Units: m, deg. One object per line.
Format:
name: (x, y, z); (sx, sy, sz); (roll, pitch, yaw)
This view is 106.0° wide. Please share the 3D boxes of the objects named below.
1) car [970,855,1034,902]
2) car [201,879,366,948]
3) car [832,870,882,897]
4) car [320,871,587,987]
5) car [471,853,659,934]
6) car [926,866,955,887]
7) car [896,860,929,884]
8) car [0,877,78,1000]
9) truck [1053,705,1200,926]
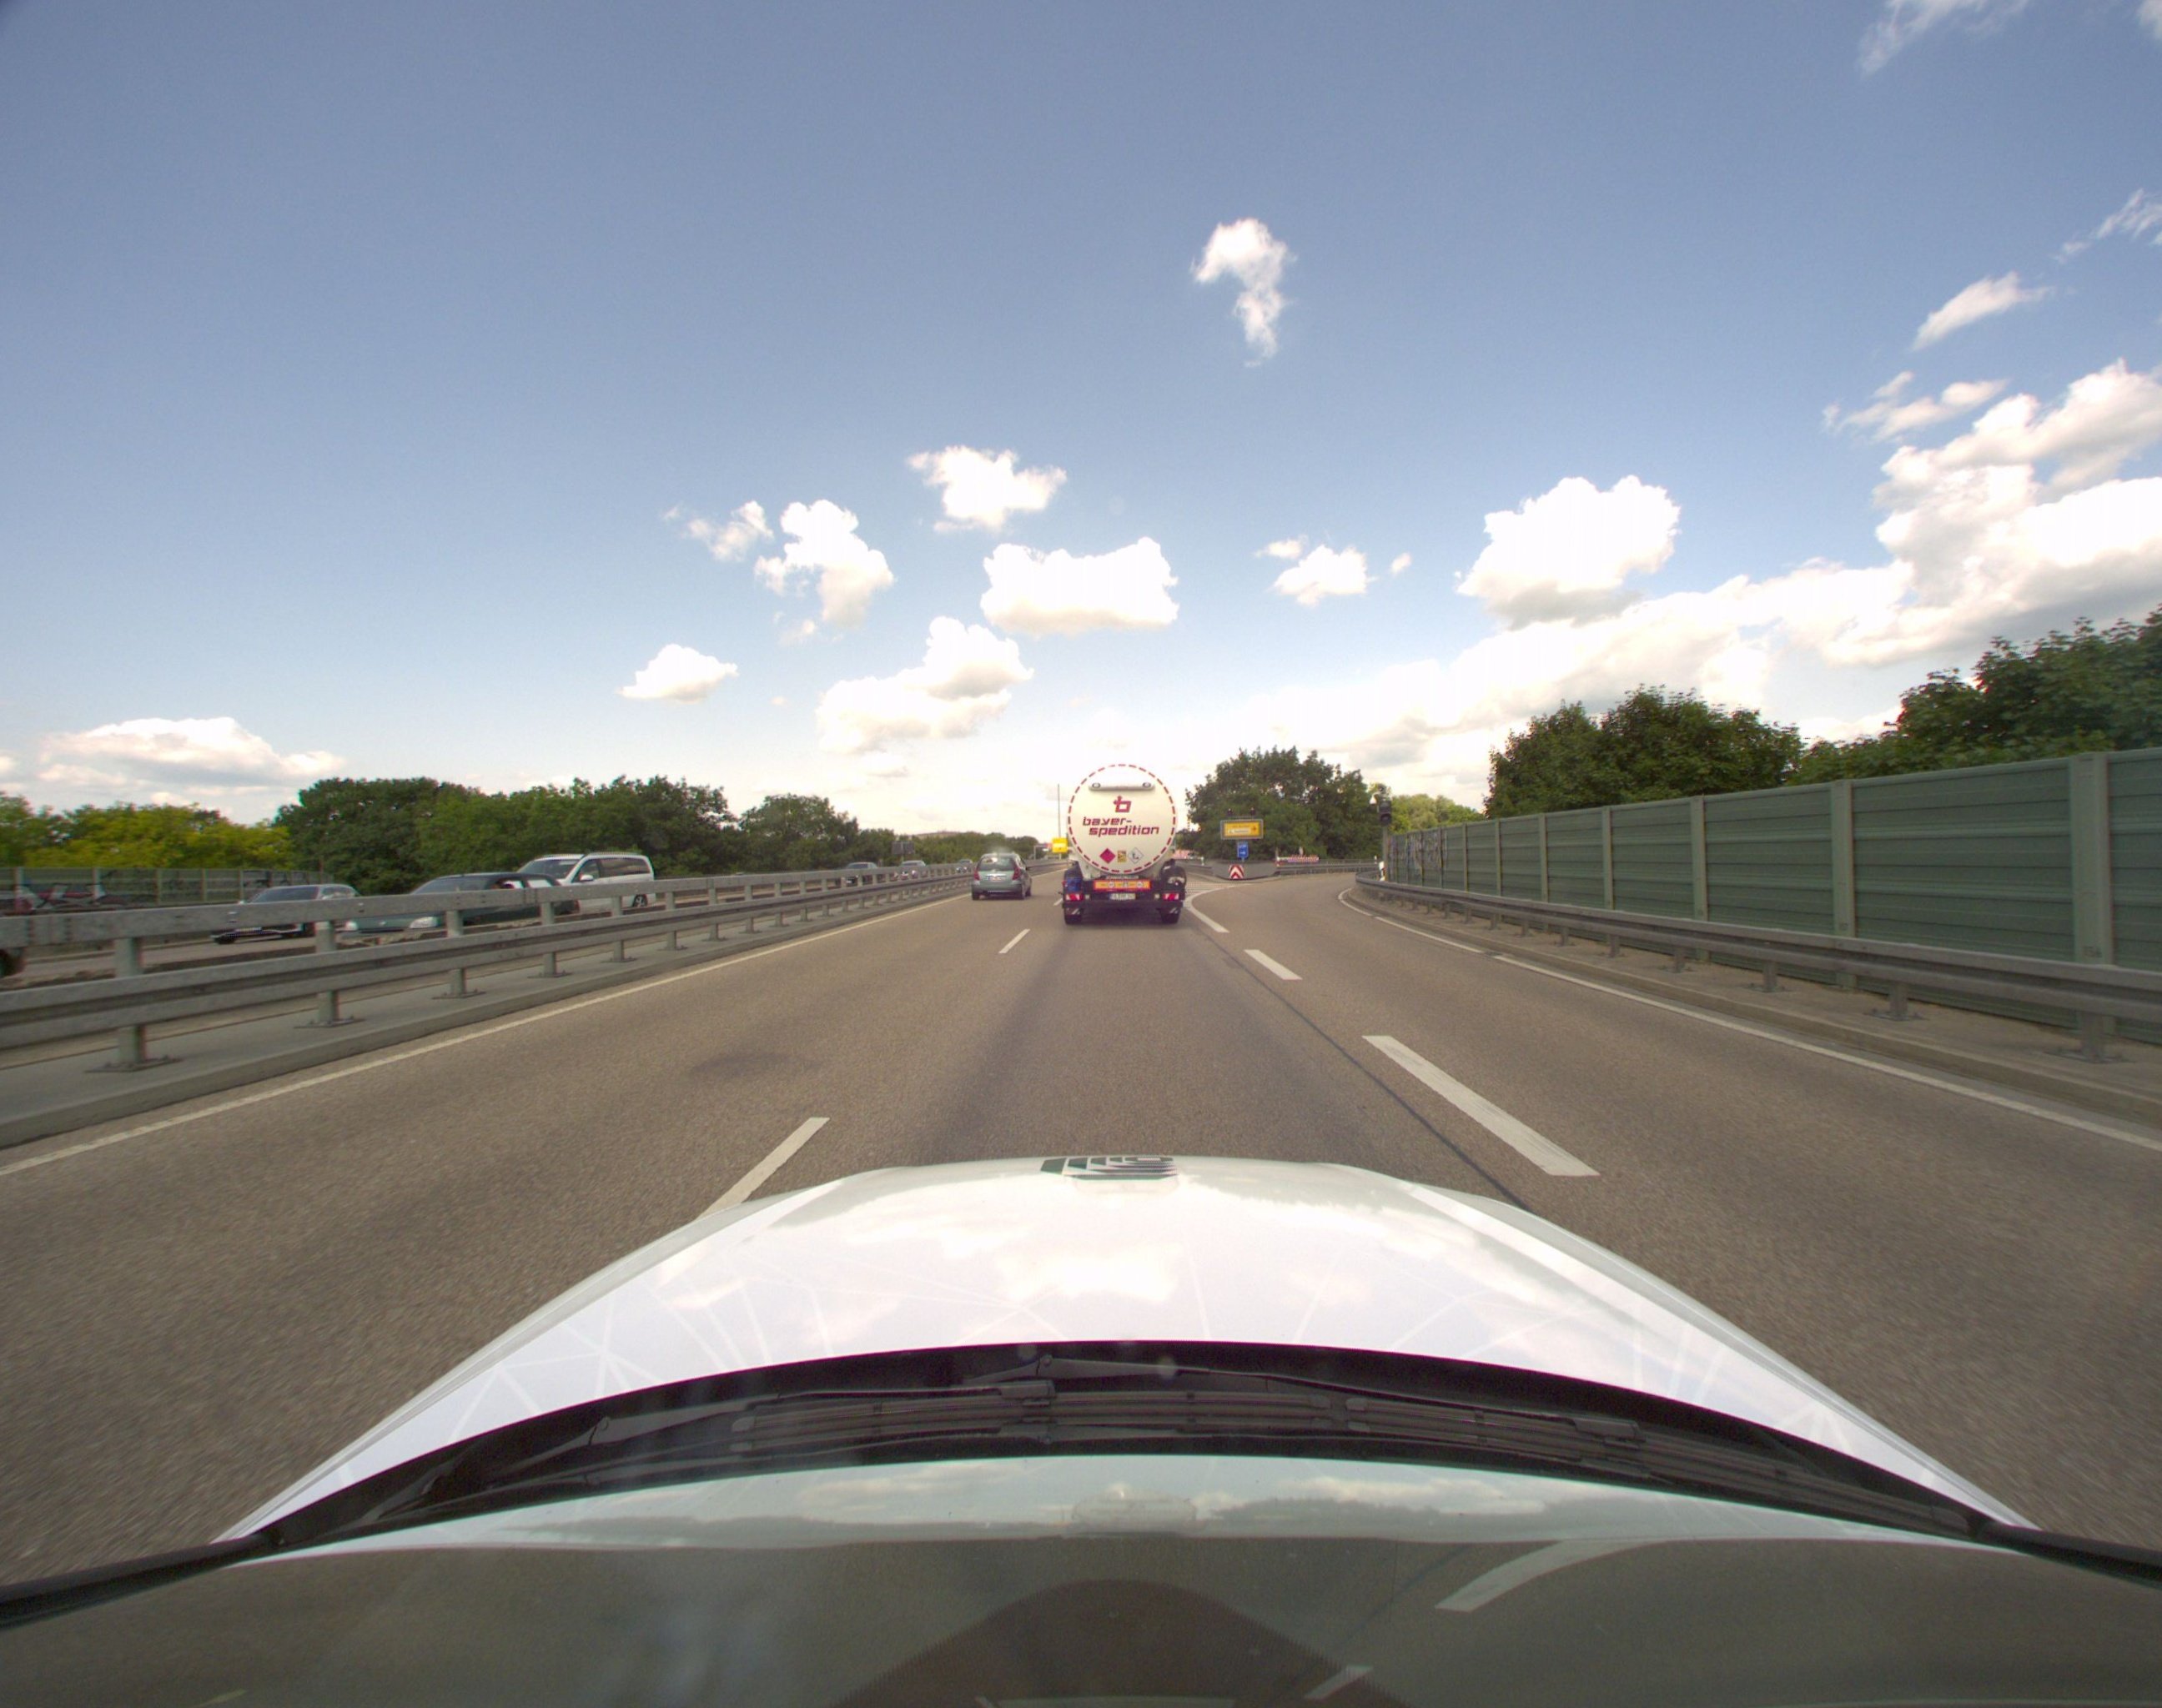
car: (-2.720, 0.819, 28.980); (1.741, 1.531, 4.002); (-1, 0, 2)
car: (-22.255, 1.585, 22.963); (1.934, 1.574, 4.246); (-5, 0, -26)
car: (-13.214, 1.693, 48.261); (1.778, 1.389, 4.047); (0, 1, 0)
car: (-10.629, 1.177, 14.201); (1.721, 1.622, 3.741); (0, 1, 0)
car: (-14.144, 0.980, 22.810); (1.954, 1.925, 5.190); (1, 1, 0)
car: (-13.748, 2.180, 80.034); (1.986, 2.014, 4.002); (0, 0, 2)
car: (-12.729, 1.326, 61.879); (1.577, 1.711, 4.410); (0, 1, 0)
car: (-15.088, 1.138, 9.280); (1.916, 1.574, 4.248); (-2, 0, 3)
truck: (1.005, -0.748, 20.111); (2.884, 4.369, 8.031); (0, 0, 1)
